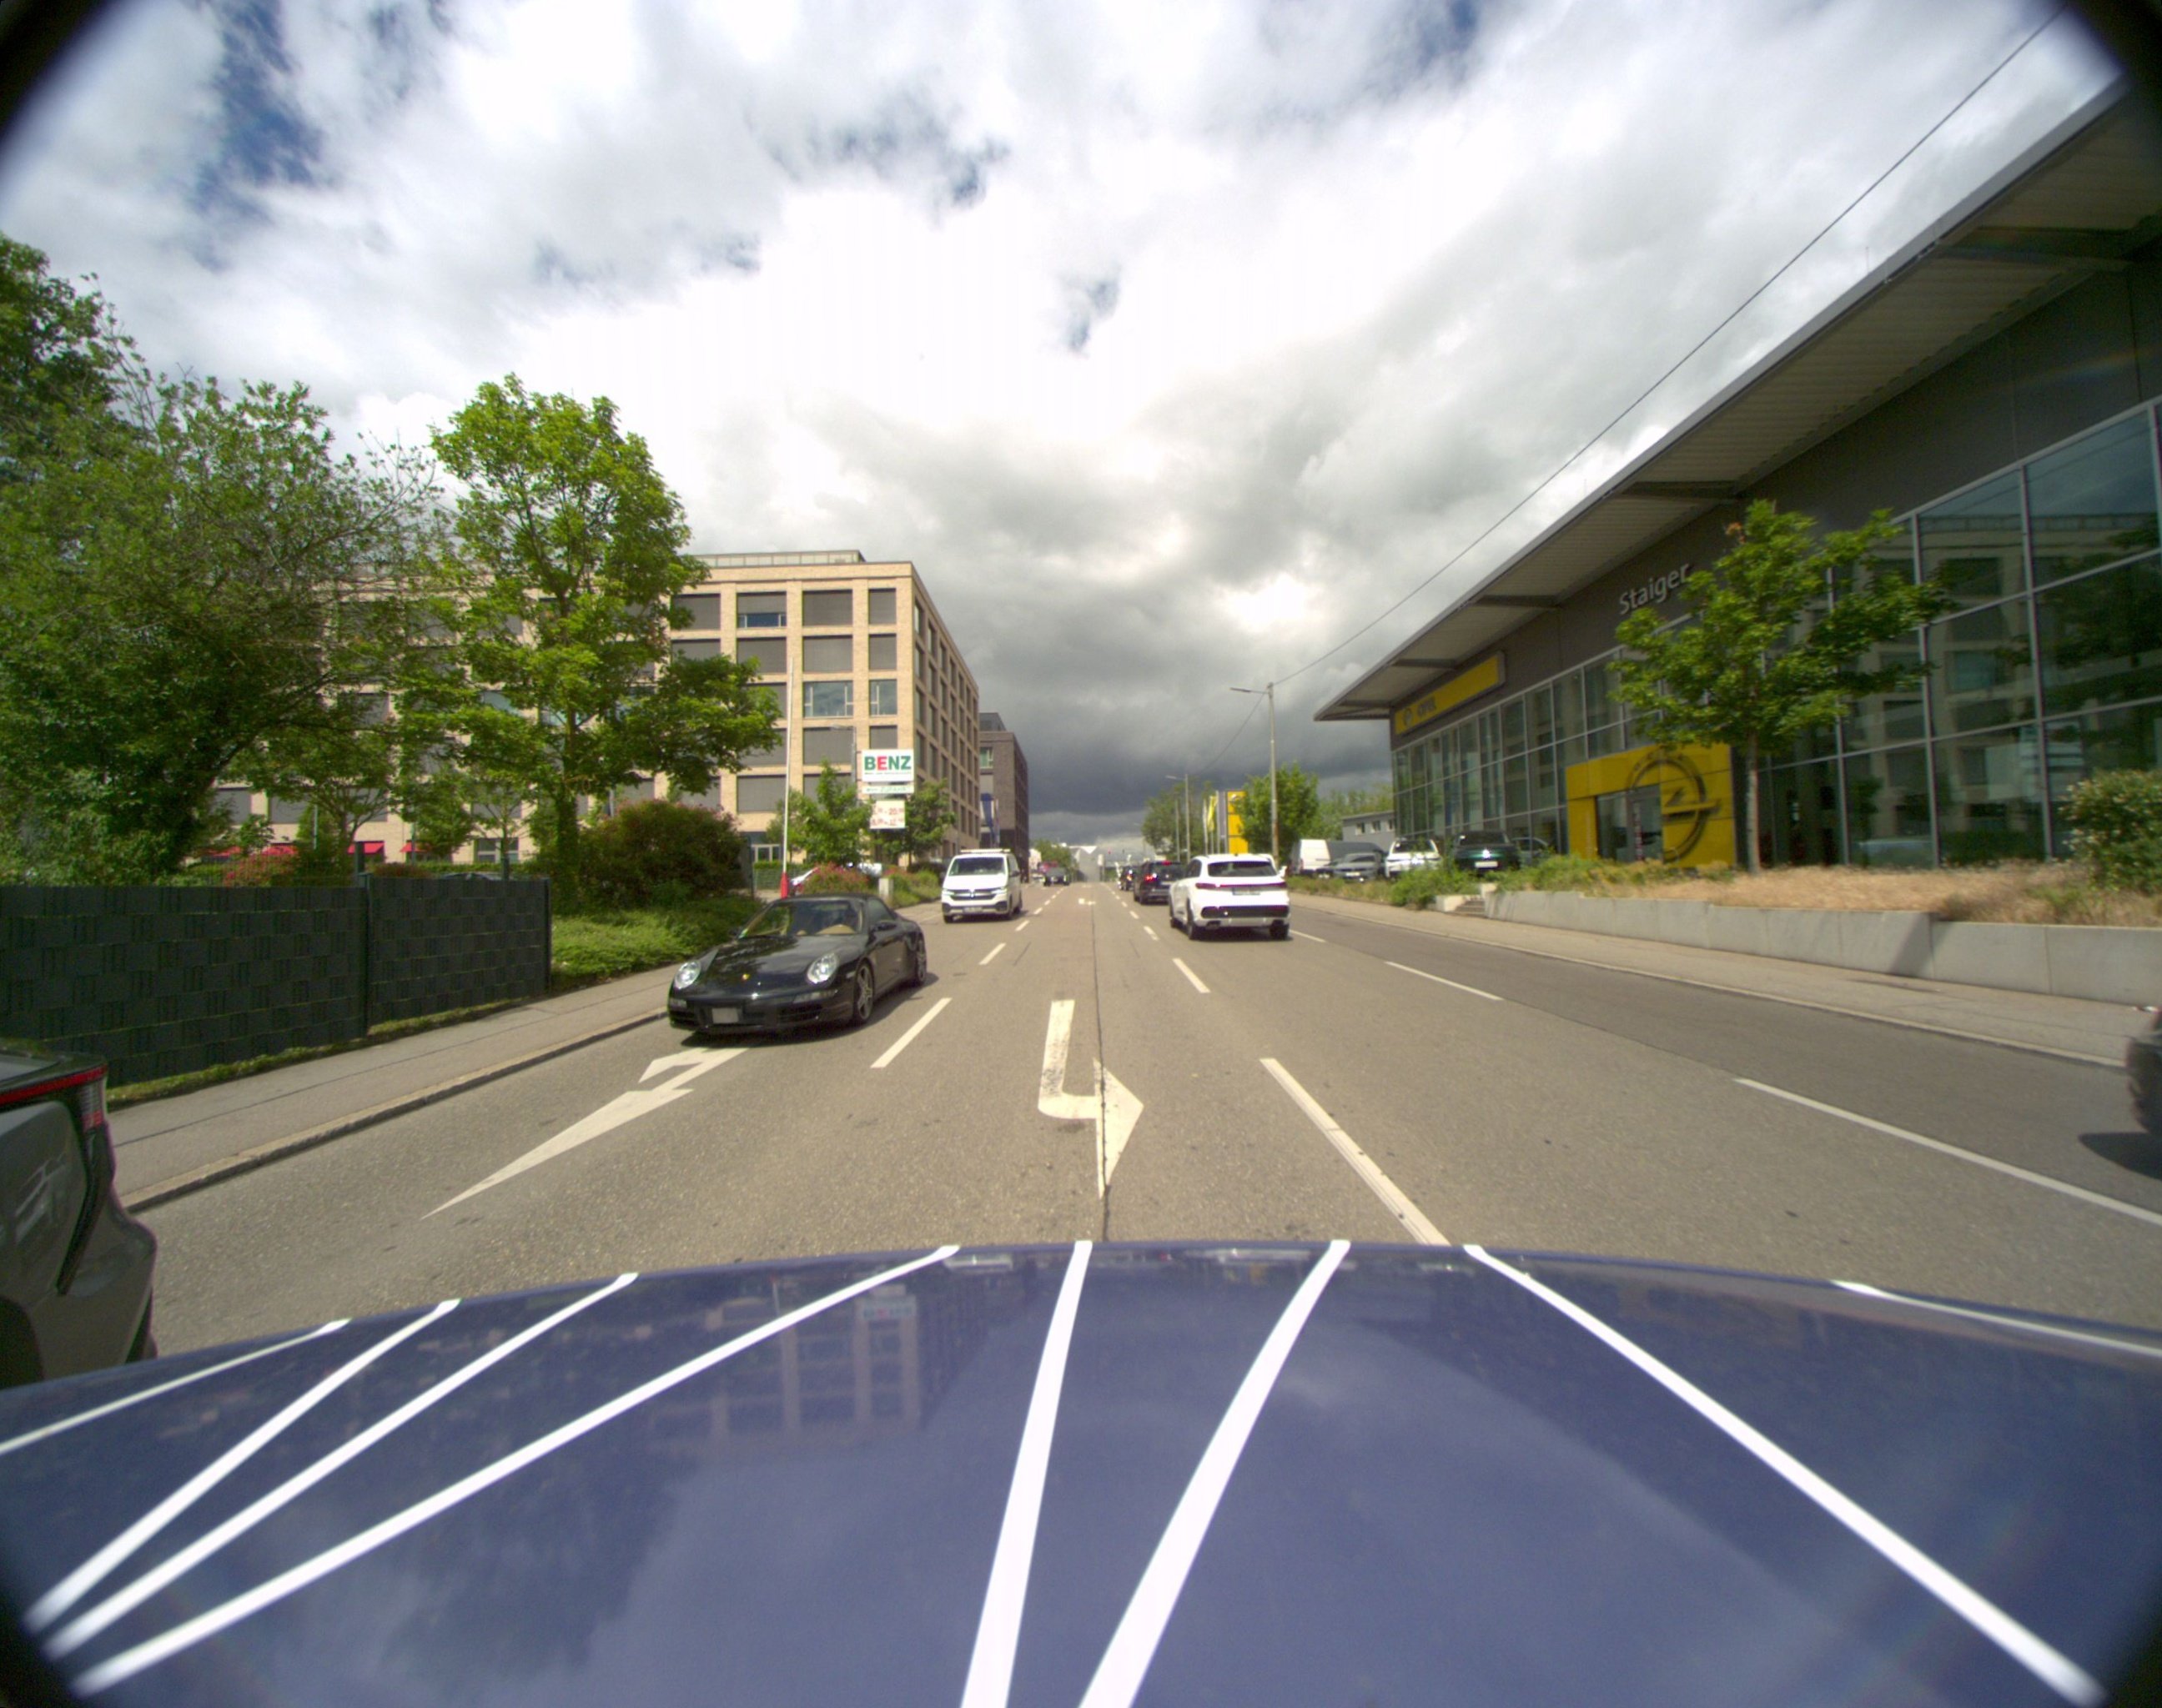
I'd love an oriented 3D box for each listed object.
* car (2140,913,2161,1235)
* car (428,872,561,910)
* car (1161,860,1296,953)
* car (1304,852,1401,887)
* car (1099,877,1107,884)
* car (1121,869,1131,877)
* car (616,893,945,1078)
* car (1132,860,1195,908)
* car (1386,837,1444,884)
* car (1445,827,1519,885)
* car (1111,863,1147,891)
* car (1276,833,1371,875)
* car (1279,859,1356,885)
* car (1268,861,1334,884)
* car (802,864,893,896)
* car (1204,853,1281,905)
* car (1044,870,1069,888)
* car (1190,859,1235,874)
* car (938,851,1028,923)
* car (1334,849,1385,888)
[{"bbox_3d":[5.594,0.966,1.512,1.763,1.404,3.734,1,0,1],"label":"car"},{"bbox_3d":[-23.204,1.457,30.163,3.997,1.401,1.600,0,0,-1],"label":"car"},{"bbox_3d":[2.849,0.951,15.681,1.924,1.604,4.416,-1,0,1],"label":"car"},{"bbox_3d":[13.231,0.741,37.103,4.108,1.604,1.797,-1,0,-8],"label":"car"},{"bbox_3d":[4.837,5.917,167.906,1.731,1.494,3.753,-1,0,-1],"label":"car"},{"bbox_3d":[8.324,3.484,140.337,1.731,1.494,3.753,-1,0,0],"label":"car"},{"bbox_3d":[-2.938,1.226,8.663,1.777,1.267,4.569,-3,0,2],"label":"car"},{"bbox_3d":[3.004,1.063,28.449,1.797,1.604,4.109,-1,0,-1],"label":"car"},{"bbox_3d":[12.222,0.210,27.716,1.794,1.604,4.116,-1,0,25],"label":"car"},{"bbox_3d":[12.222,0.077,23.116,1.817,1.604,4.117,-1,0,29],"label":"car"},{"bbox_3d":[2.669,1.258,43.126,1.731,1.494,3.438,-1,0,-1],"label":"car"},{"bbox_3d":[13.322,0.022,41.919,4.531,2.181,2.179,-1,0,-1],"label":"car"},{"bbox_3d":[15.290,1.122,49.282,4.413,1.604,1.925,-1,0,-2],"label":"car"},{"bbox_3d":[14.843,1.248,51.377,3.946,1.518,1.561,-1,0,-2],"label":"car"},{"bbox_3d":[-12.104,1.313,39.591,4.220,1.567,1.735,-1,0,-4],"label":"car"},{"bbox_3d":[6.224,0.913,29.922,1.924,1.848,5.199,1,0,0],"label":"car"},{"bbox_3d":[-1.961,2.003,61.483,1.777,1.267,4.569,-1,0,2],"label":"car"},{"bbox_3d":[13.592,1.308,78.605,4.252,1.473,2.095,-1,0,-2],"label":"car"},{"bbox_3d":[-2.783,0.900,22.623,1.964,1.840,4.645,-3,0,1],"label":"car"},{"bbox_3d":[12.212,0.601,33.160,1.794,1.604,4.116,-1,0,24],"label":"car"}]
